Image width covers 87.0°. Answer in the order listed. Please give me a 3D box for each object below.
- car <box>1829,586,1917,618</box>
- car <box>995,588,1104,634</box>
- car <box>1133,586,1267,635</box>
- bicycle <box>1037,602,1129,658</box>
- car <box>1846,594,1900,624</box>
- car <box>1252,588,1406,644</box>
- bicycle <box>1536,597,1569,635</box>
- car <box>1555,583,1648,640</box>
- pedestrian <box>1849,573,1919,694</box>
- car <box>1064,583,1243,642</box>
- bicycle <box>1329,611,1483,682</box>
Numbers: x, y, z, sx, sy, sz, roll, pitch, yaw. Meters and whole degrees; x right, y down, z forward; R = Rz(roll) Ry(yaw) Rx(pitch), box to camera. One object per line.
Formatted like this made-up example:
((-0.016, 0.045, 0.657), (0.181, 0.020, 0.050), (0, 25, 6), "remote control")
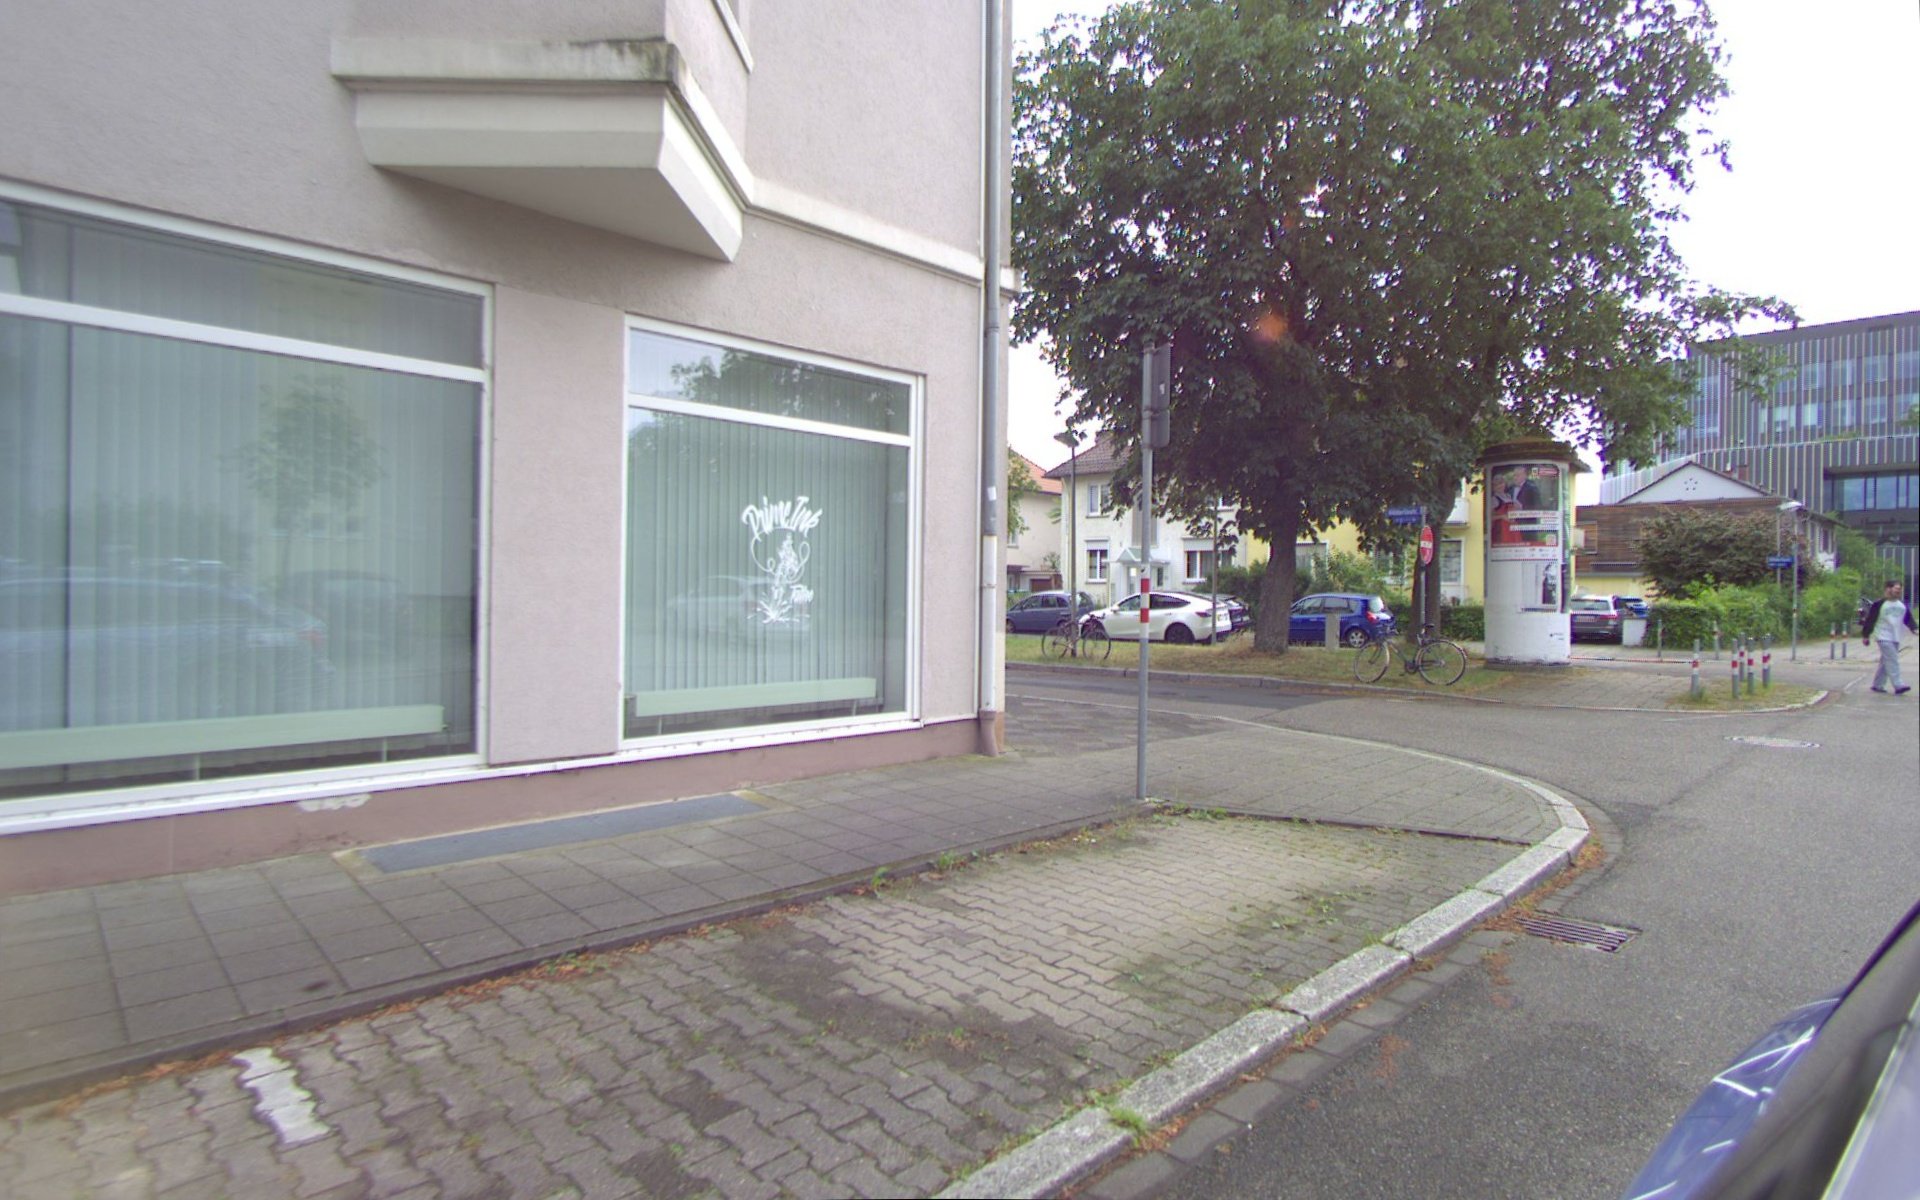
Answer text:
((57.714, 0.088, 64.011), (1.967, 1.860, 3.992), (-3, 3, -42), "car")
((3.396, 0.388, 38.641), (3.867, 1.621, 1.695), (0, 3, 40), "car")
((8.134, 0.312, 34.513), (4.149, 1.518, 1.695), (0, 3, 41), "car")
((2.526, 0.602, 20.994), (1.879, 1.080, 0.657), (1, 0, 44), "bicycle")
((50.738, 0.470, 56.220), (3.935, 1.415, 1.995), (-4, 3, -44), "car")
((11.377, 0.442, 31.407), (1.678, 1.586, 4.199), (-2, 2, -45), "car")
((19.161, 0.503, 32.710), (0.481, 1.210, 2.143), (0, 0, 42), "bicycle")
((19.953, 0.315, 31.391), (1.836, 1.631, 3.940), (1, 1, 42), "car")
((15.192, 0.516, 16.223), (0.864, 1.859, 1.216), (1, 0, 9), "pedestrian")
((5.569, 0.303, 29.530), (4.863, 1.586, 1.875), (1, 1, 41), "car")
((7.002, 0.703, 15.979), (2.171, 0.997, 0.505), (0, 2, 39), "bicycle")
